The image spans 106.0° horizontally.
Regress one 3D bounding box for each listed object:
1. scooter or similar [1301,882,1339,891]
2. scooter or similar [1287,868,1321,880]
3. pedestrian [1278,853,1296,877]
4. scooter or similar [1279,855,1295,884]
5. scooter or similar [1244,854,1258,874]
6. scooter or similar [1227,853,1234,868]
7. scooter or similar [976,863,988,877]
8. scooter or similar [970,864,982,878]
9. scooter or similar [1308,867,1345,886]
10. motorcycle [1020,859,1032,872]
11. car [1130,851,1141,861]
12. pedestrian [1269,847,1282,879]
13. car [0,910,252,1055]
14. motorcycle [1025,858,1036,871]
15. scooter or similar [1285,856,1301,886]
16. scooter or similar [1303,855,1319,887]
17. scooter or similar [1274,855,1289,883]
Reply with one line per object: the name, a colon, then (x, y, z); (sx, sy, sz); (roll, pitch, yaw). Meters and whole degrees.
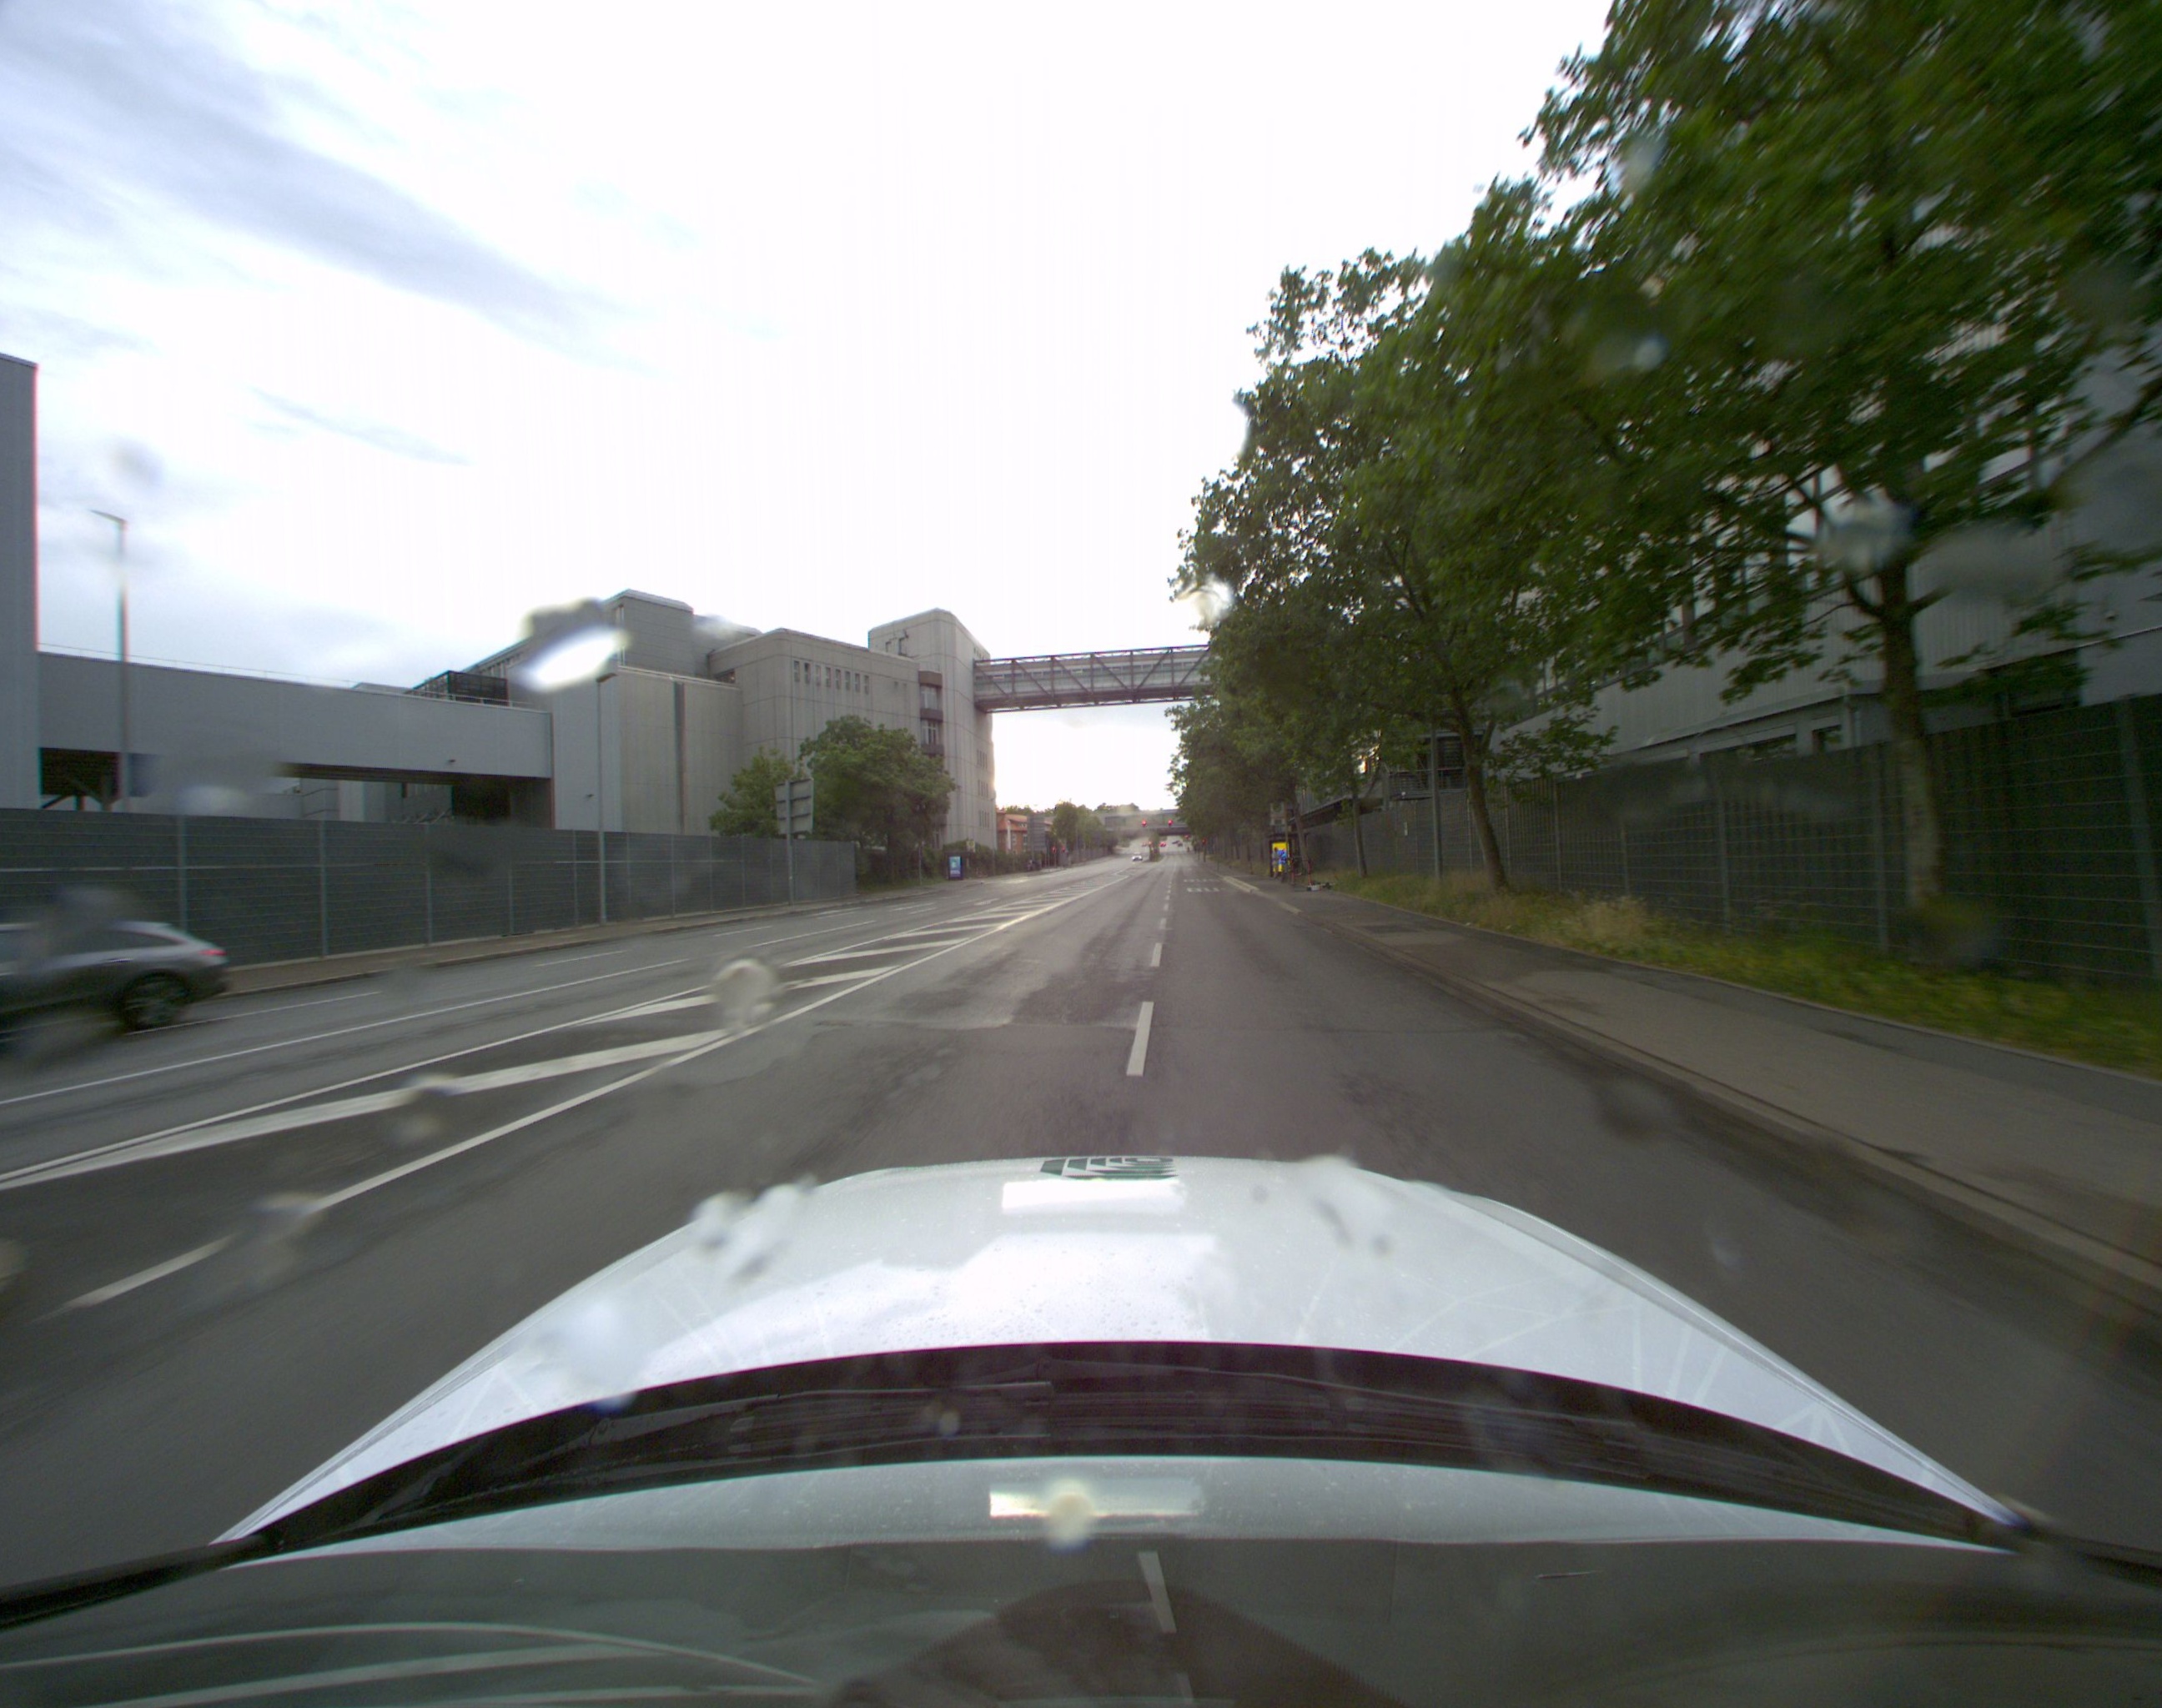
scooter or similar: (8.920, 1.204, 30.474); (0.654, 0.246, 1.516); (-3, 0, -15)
scooter or similar: (11.102, 0.997, 40.558); (1.547, 0.519, 0.647); (-3, 0, 23)
pedestrian: (11.891, 0.647, 46.951); (0.944, 1.317, 0.688); (-2, -1, 12)
scooter or similar: (9.454, 0.698, 37.369); (0.472, 1.293, 1.436); (-3, 0, 7)
scooter or similar: (11.500, 0.661, 55.091); (0.693, 1.244, 1.930); (-3, 0, 18)
scooter or similar: (14.173, 0.596, 77.298); (0.605, 1.366, 1.927); (-2, 0, 11)
scooter or similar: (-9.409, 1.539, 77.110); (0.494, 1.252, 1.927); (-2, 0, 11)
scooter or similar: (-9.631, 1.552, 74.947); (0.521, 1.252, 1.805); (-2, 0, 11)
scooter or similar: (10.318, 0.941, 34.248); (0.656, 0.713, 1.512); (-2, 0, -25)
motorcycle: (-6.791, 1.412, 100.811); (0.909, 1.532, 3.304); (-2, 0, 4)
car: (10.355, 0.310, 155.888); (1.985, 1.772, 4.003); (-2, 0, 3)
pedestrian: (10.277, 0.496, 43.104); (0.479, 1.667, 0.663); (-3, 0, 4)
car: (-12.408, 1.508, 8.851); (1.773, 1.385, 4.554); (-4, -1, 7)
motorcycle: (-6.453, 1.368, 104.542); (0.954, 1.556, 3.304); (-2, 0, 4)
scooter or similar: (9.131, 0.724, 35.078); (0.431, 1.270, 1.196); (-3, 0, 7)
scooter or similar: (9.015, 0.665, 31.951); (0.386, 1.226, 1.076); (-3, 0, 7)
scooter or similar: (9.715, 0.703, 39.498); (0.500, 1.293, 1.436); (-3, 0, 7)
